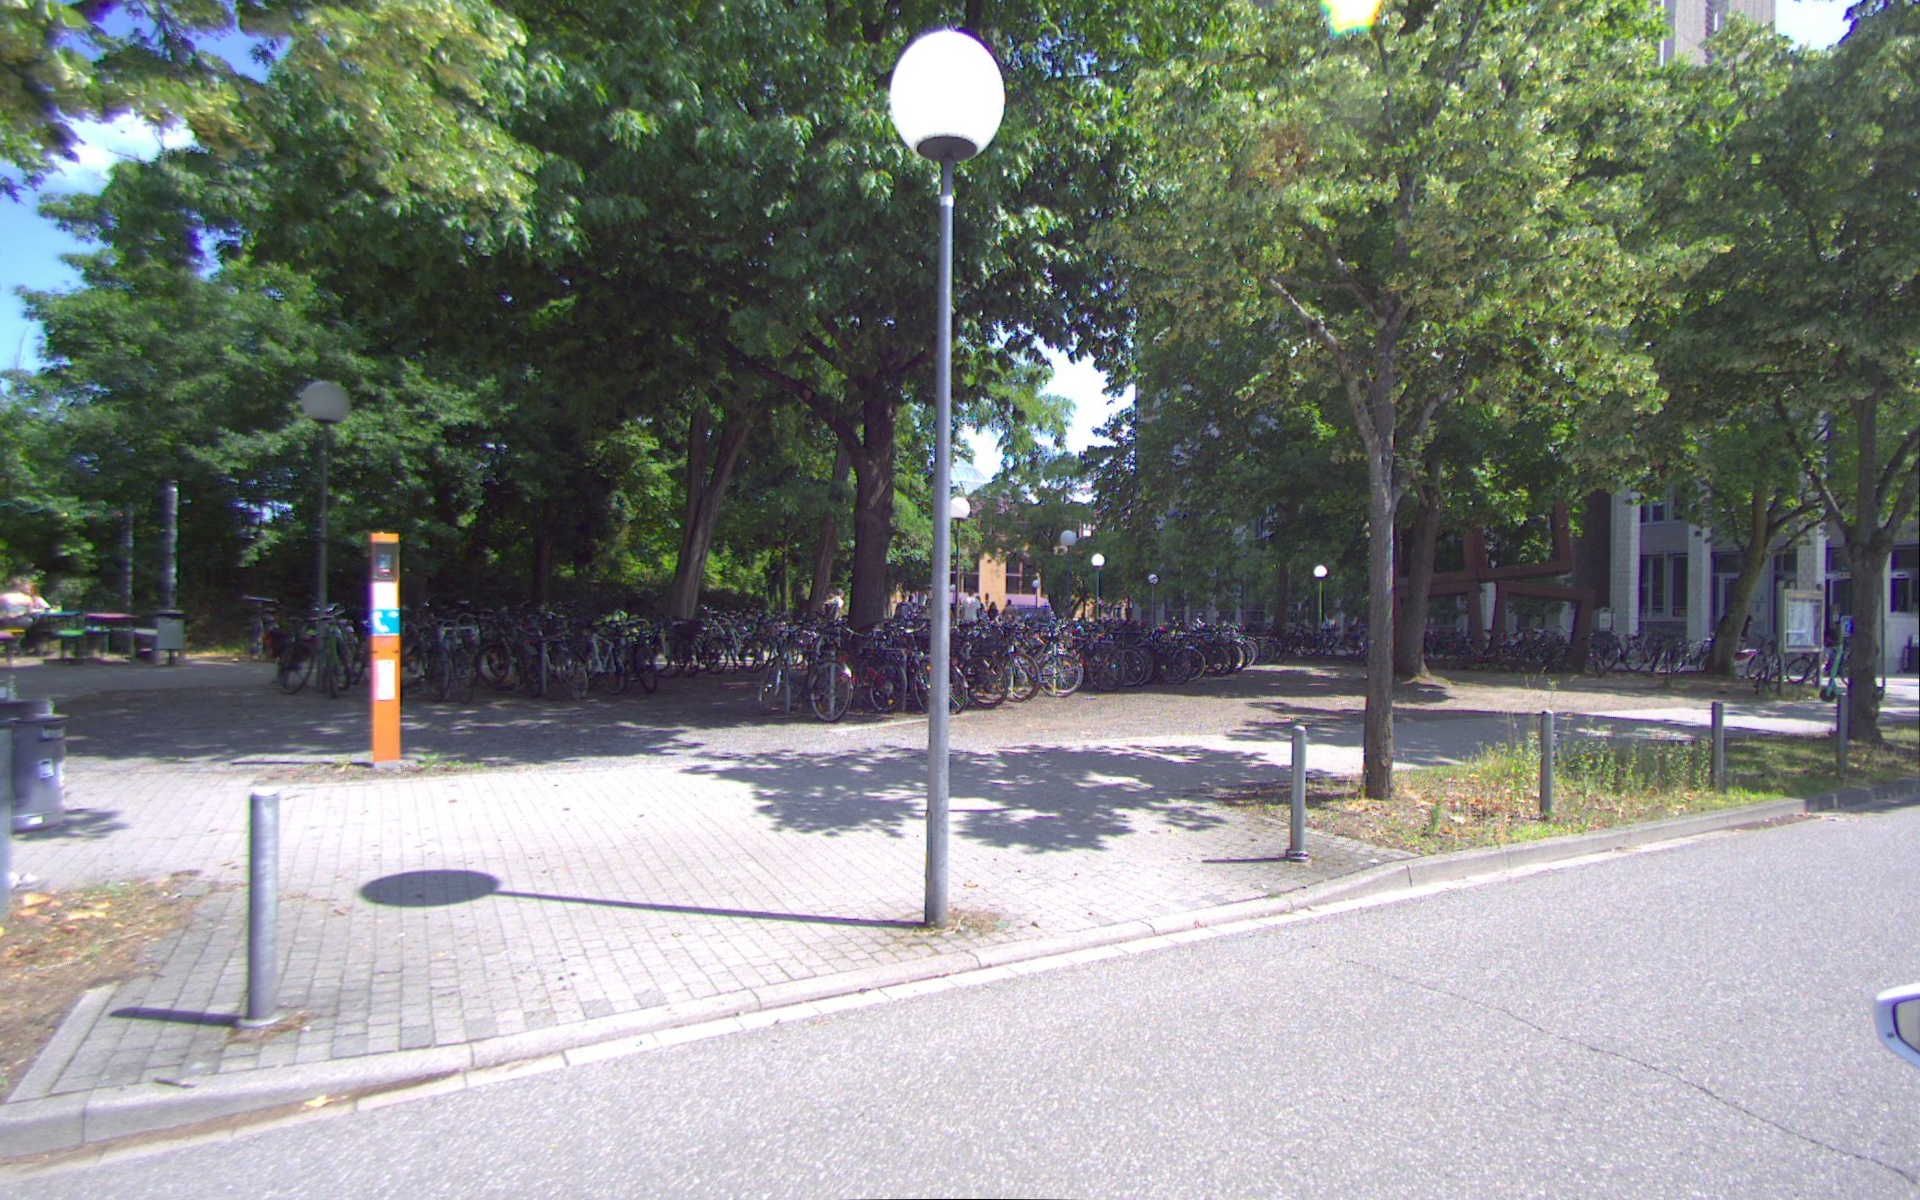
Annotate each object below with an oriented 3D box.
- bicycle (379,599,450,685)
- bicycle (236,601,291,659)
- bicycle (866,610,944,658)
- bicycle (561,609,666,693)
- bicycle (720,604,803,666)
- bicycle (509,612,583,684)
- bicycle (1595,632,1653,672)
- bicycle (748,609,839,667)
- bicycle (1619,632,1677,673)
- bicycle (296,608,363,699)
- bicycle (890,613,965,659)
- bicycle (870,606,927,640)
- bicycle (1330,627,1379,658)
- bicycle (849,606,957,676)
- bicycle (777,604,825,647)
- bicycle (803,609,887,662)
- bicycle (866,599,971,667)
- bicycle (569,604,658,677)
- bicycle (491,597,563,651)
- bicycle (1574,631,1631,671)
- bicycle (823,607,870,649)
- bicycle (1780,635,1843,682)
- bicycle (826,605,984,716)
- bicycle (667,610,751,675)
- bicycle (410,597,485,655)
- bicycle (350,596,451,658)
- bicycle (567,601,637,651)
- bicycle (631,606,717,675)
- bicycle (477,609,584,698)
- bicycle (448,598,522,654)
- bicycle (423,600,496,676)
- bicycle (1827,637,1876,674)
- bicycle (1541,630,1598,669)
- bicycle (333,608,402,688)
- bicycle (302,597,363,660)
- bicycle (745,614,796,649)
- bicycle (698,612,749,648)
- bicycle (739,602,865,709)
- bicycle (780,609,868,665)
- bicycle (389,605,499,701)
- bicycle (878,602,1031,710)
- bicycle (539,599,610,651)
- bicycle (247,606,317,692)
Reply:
[{"bbox_3d":[-7.995,0.578,14.677,0.533,1.141,1.944,1,0,-40],"label":"bicycle"},{"bbox_3d":[-12.557,0.528,18.094,0.542,0.955,1.860,3,-1,-42],"label":"bicycle"},{"bbox_3d":[-1.363,0.817,24.683,1.933,1.104,0.546,2,0,31],"label":"bicycle"},{"bbox_3d":[-5.034,0.712,14.550,1.832,1.104,0.545,2,0,39],"label":"bicycle"},{"bbox_3d":[-3.845,0.658,19.391,1.940,1.104,0.544,2,0,44],"label":"bicycle"},{"bbox_3d":[-6.678,0.734,16.153,0.533,1.041,1.944,1,0,-40],"label":"bicycle"},{"bbox_3d":[18.990,1.475,28.703,1.950,1.101,0.549,2,1,-31],"label":"bicycle"},{"bbox_3d":[-3.432,0.759,20.591,1.933,1.104,0.546,2,0,31],"label":"bicycle"},{"bbox_3d":[19.310,1.471,28.188,1.950,1.101,0.549,2,1,-31],"label":"bicycle"},{"bbox_3d":[-7.920,0.640,12.666,0.531,1.028,1.795,1,0,-27],"label":"bicycle"},{"bbox_3d":[-0.839,0.903,25.646,1.933,1.104,0.546,2,0,31],"label":"bicycle"},{"bbox_3d":[-2.053,0.748,33.361,2.029,1.049,0.504,2,0,37],"label":"bicycle"},{"bbox_3d":[14.328,1.539,36.494,1.950,1.101,0.549,2,1,-31],"label":"bicycle"},{"bbox_3d":[-1.121,0.771,19.529,2.021,1.251,0.639,1,1,25],"label":"bicycle"},{"bbox_3d":[-4.757,0.753,29.972,1.772,1.223,0.421,2,1,44],"label":"bicycle"},{"bbox_3d":[-2.591,0.781,22.617,1.933,1.104,0.546,2,0,31],"label":"bicycle"},{"bbox_3d":[-0.847,0.642,20.184,2.021,1.251,0.639,2,1,25],"label":"bicycle"},{"bbox_3d":[-5.749,0.645,16.600,1.940,1.104,0.534,2,0,43],"label":"bicycle"},{"bbox_3d":[-9.648,0.525,22.339,1.927,1.106,0.595,2,-1,38],"label":"bicycle"},{"bbox_3d":[18.780,1.488,29.333,1.950,1.101,0.549,2,1,-31],"label":"bicycle"},{"bbox_3d":[-3.578,0.867,31.496,1.772,1.223,0.421,2,1,44],"label":"bicycle"},{"bbox_3d":[21.078,1.434,24.863,1.950,1.101,0.549,2,1,-31],"label":"bicycle"},{"bbox_3d":[-0.725,0.719,12.774,2.031,1.251,0.804,2,0,43],"label":"bicycle"},{"bbox_3d":[-4.666,0.760,18.624,1.940,1.104,0.544,2,0,44],"label":"bicycle"},{"bbox_3d":[-10.612,0.520,20.768,1.927,1.106,0.595,2,-1,38],"label":"bicycle"},{"bbox_3d":[-10.920,0.516,19.589,1.920,1.106,0.597,2,-1,22],"label":"bicycle"},{"bbox_3d":[-8.565,0.609,24.005,1.927,1.106,0.595,2,-1,38],"label":"bicycle"},{"bbox_3d":[-5.050,0.687,17.670,1.940,1.104,0.544,2,0,44],"label":"bicycle"},{"bbox_3d":[-5.875,0.695,13.682,1.832,1.104,0.545,2,0,39],"label":"bicycle"},{"bbox_3d":[-10.147,0.537,21.415,1.927,1.106,0.595,2,-1,38],"label":"bicycle"},{"bbox_3d":[-7.540,0.541,15.076,0.533,1.041,1.944,1,0,-40],"label":"bicycle"},{"bbox_3d":[27.140,1.670,30.574,1.840,1.028,0.463,-1,2,-27],"label":"bicycle"},{"bbox_3d":[18.180,1.482,29.953,1.950,1.101,0.549,2,1,-31],"label":"bicycle"},{"bbox_3d":[-8.451,0.655,14.293,0.533,1.016,1.944,1,0,-40],"label":"bicycle"},{"bbox_3d":[-11.861,0.521,18.955,0.593,1.106,1.933,3,-1,-43],"label":"bicycle"},{"bbox_3d":[-5.488,0.898,29.022,1.741,0.906,0.417,2,1,41],"label":"bicycle"},{"bbox_3d":[-6.491,0.815,27.510,1.741,0.906,0.417,2,1,41],"label":"bicycle"},{"bbox_3d":[-1.879,0.613,11.784,1.754,1.147,0.456,1,0,43],"label":"bicycle"},{"bbox_3d":[-2.918,0.768,21.418,1.933,1.104,0.546,2,0,31],"label":"bicycle"},{"bbox_3d":[-6.568,0.638,12.750,1.832,1.104,0.545,2,0,39],"label":"bicycle"},{"bbox_3d":[-0.105,0.705,13.478,2.031,1.251,0.804,3,1,43],"label":"bicycle"},{"bbox_3d":[-8.912,0.560,23.176,1.927,1.106,0.595,2,-1,38],"label":"bicycle"},{"bbox_3d":[-8.999,0.615,13.373,0.530,1.028,1.796,1,0,-27],"label":"bicycle"}]
